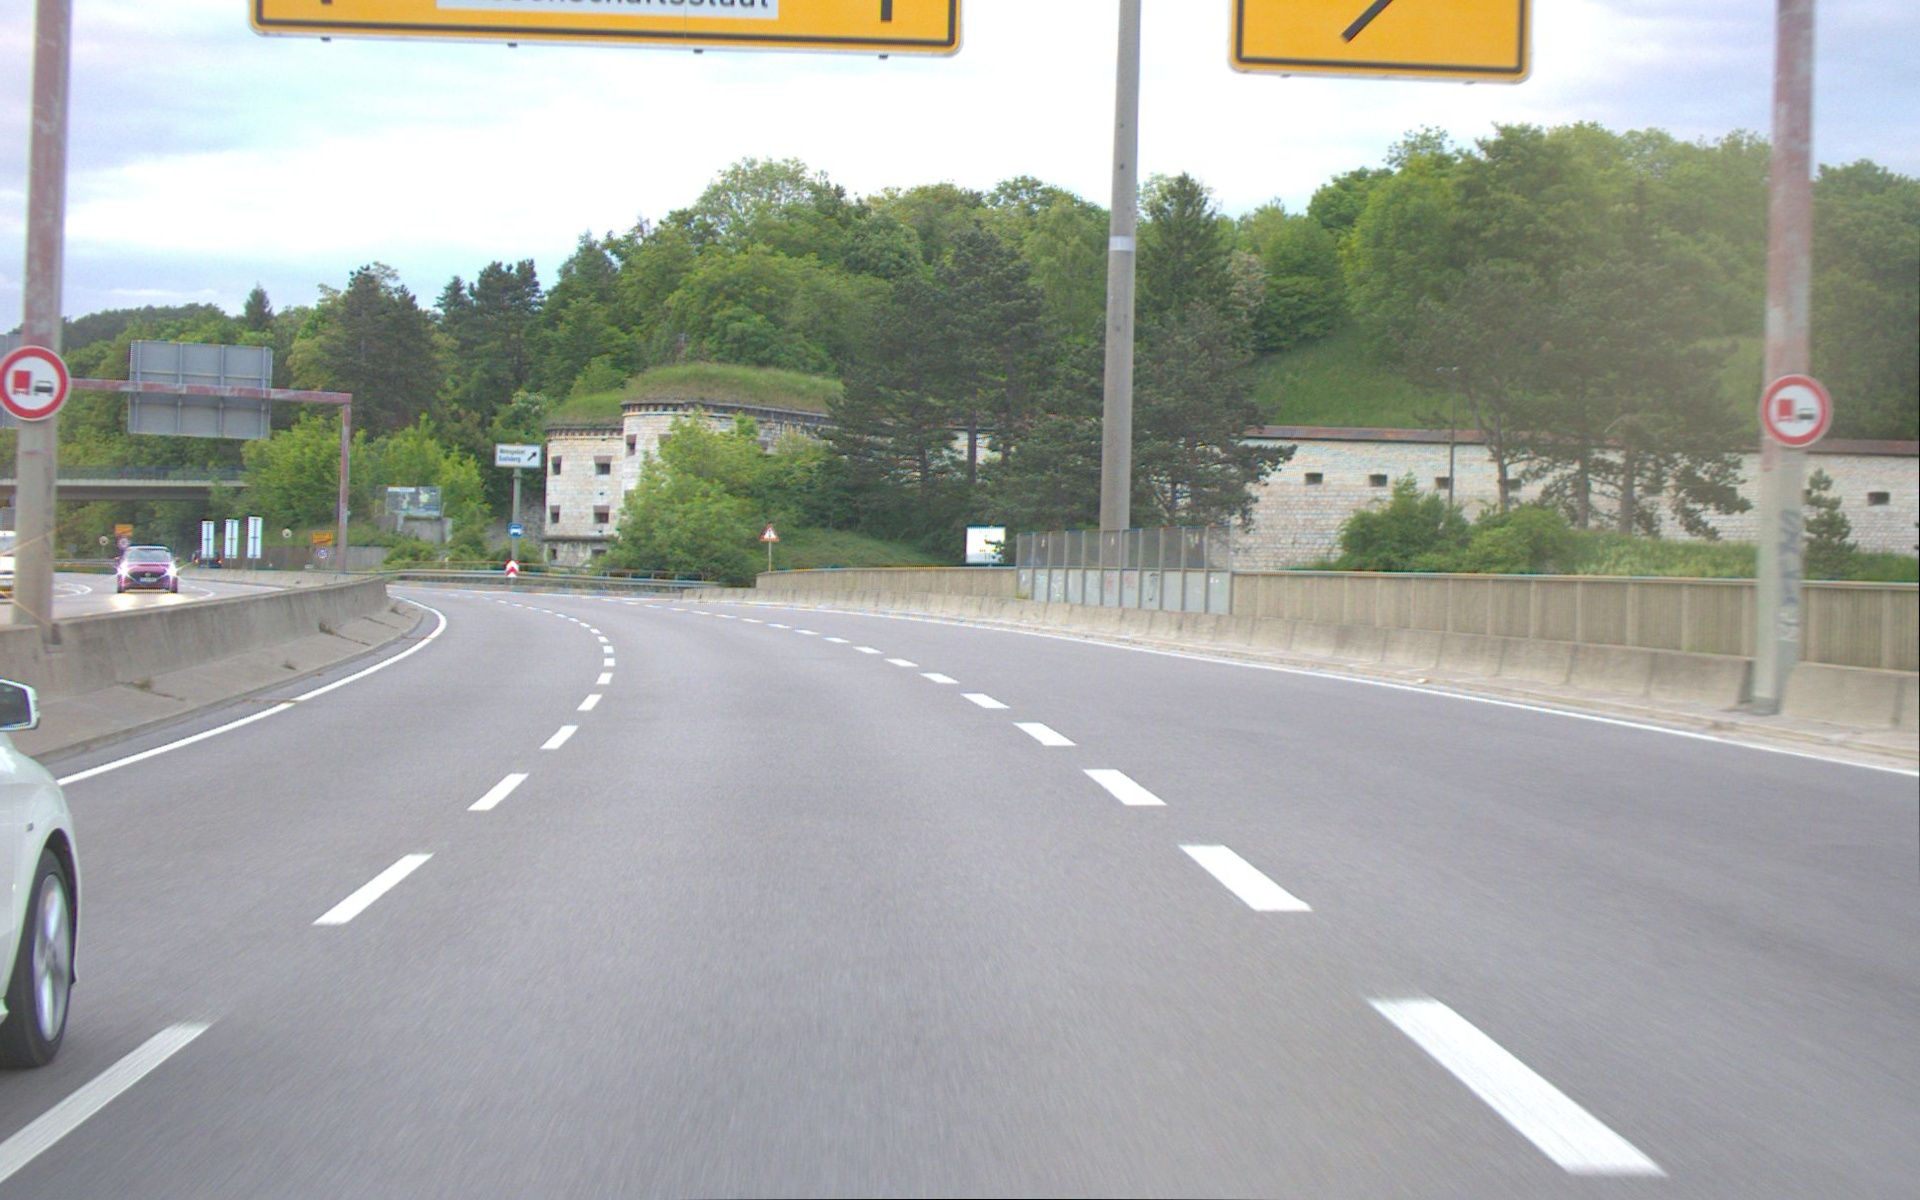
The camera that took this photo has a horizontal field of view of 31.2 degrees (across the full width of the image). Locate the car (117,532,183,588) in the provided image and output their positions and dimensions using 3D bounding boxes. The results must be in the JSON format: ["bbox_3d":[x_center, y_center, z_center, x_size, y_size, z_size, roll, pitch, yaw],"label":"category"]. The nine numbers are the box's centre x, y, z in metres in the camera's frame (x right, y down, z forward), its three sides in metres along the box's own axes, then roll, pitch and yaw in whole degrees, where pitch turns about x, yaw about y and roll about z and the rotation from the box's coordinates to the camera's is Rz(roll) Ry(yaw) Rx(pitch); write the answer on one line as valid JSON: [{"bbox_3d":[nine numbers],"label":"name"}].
[{"bbox_3d":[-24.638,-1.235,104.655,1.667,1.637,4.001,1,1,-10],"label":"car"}]

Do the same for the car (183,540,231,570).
[{"bbox_3d":[-49.170,-2.911,224.452,1.993,1.831,4.000,2,-1,-29],"label":"car"}]

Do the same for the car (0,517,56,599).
[{"bbox_3d":[-20.862,-0.933,75.285,1.667,1.727,4.001,1,1,-10],"label":"car"}]

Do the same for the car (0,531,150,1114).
[{"bbox_3d":[-3.346,0.583,8.474,1.690,1.532,4.784,0,1,-2],"label":"car"}]
